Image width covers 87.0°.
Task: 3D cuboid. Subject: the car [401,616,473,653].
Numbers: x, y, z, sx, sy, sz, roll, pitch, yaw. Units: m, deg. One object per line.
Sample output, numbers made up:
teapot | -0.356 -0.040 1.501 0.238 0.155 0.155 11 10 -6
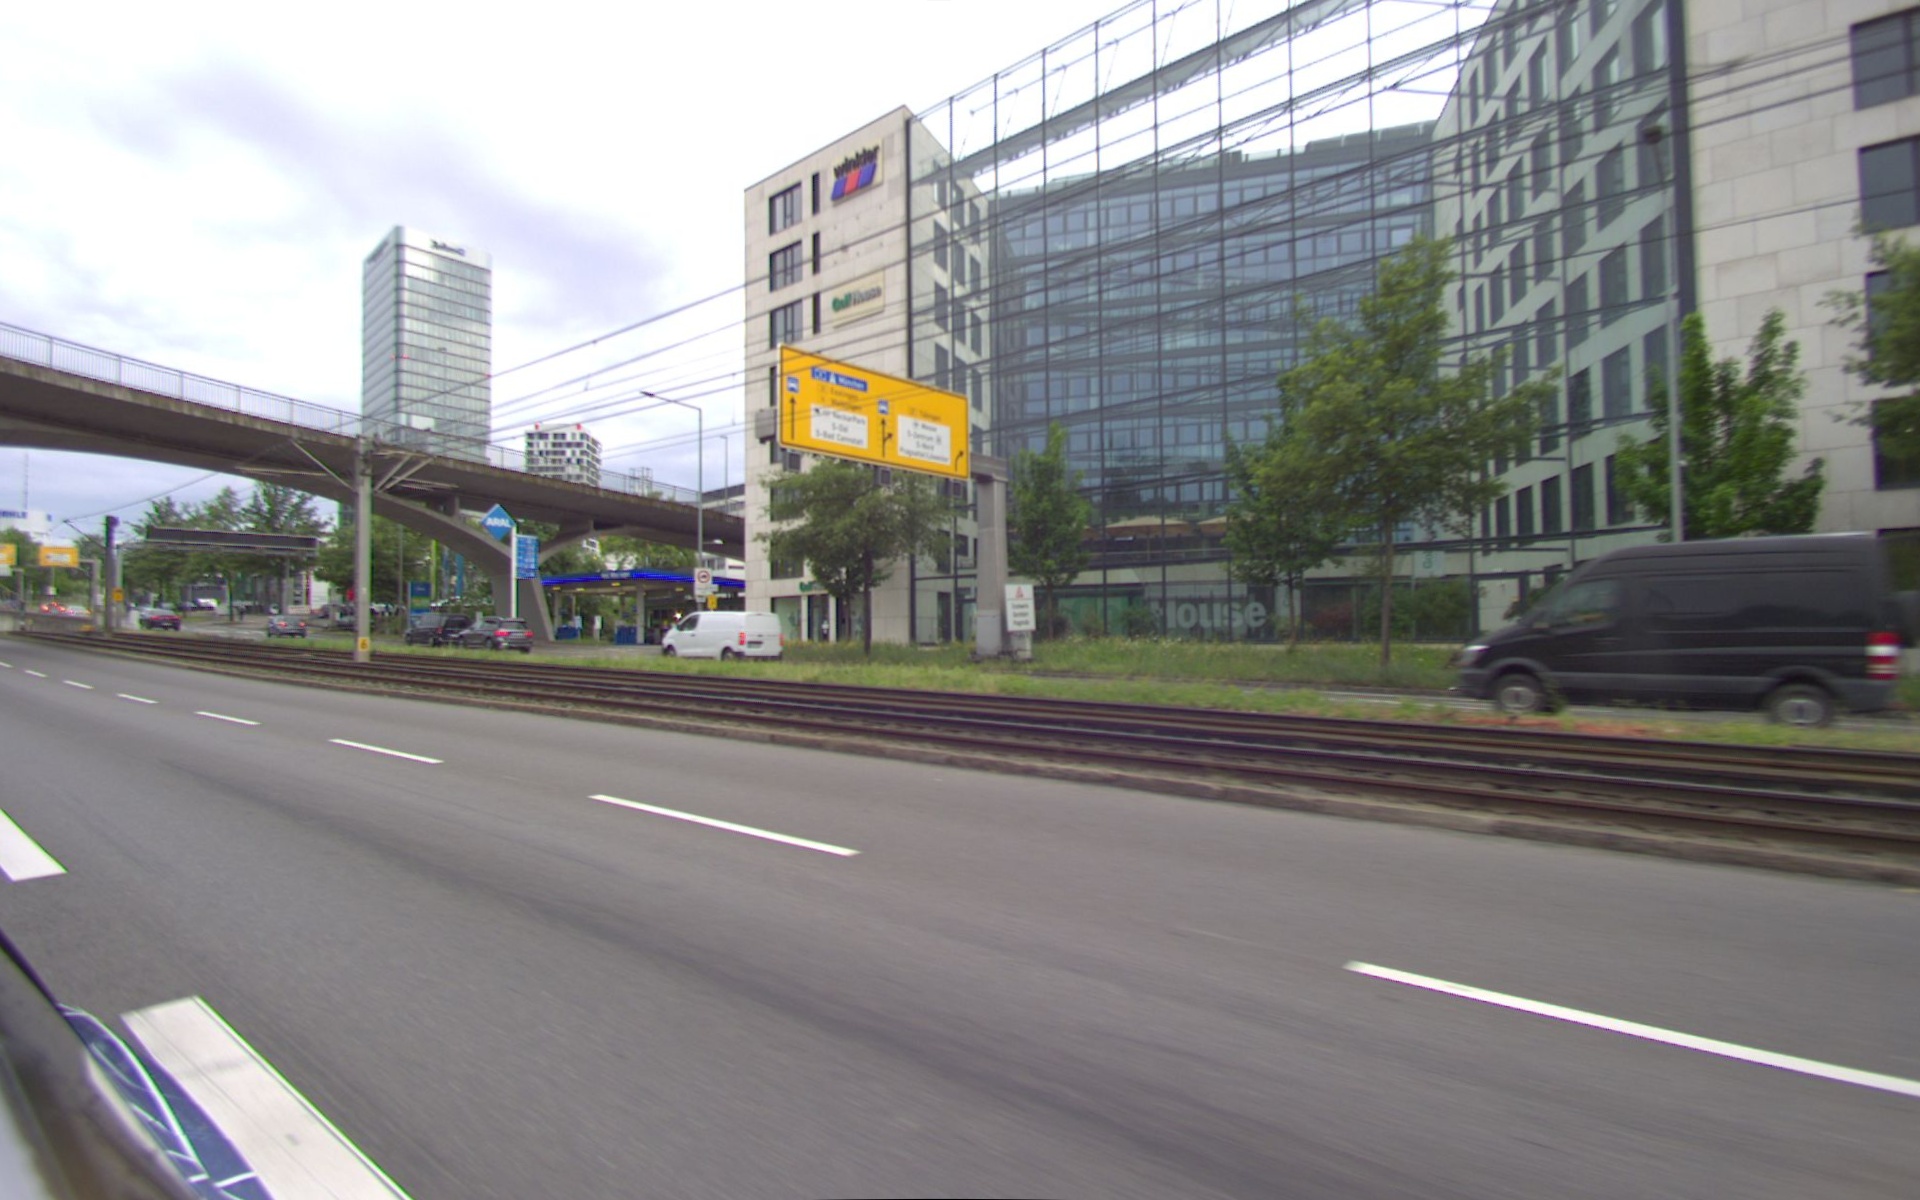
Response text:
car | -29.387 1.901 56.812 5.134 1.967 2.036 -1 0 44

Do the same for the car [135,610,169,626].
car | -81.495 1.785 102.034 4.655 1.509 1.900 -1 -4 42

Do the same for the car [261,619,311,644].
car | -45.127 2.077 67.716 4.274 1.545 1.790 -1 0 43

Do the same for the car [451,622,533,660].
car | -21.461 1.840 46.340 4.489 1.618 1.790 -1 0 42

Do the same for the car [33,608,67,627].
car | -93.935 1.814 104.448 4.217 1.790 1.903 -1 0 37

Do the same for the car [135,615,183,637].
car | -58.803 1.913 74.276 4.864 1.545 1.792 -1 0 39

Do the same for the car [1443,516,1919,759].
car | 10.235 0.456 14.416 5.611 2.839 2.358 -1 0 43

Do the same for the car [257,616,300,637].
car | -53.343 2.066 79.179 4.489 1.610 1.745 -1 0 42

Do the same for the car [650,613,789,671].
car | -8.222 1.377 34.339 5.057 1.775 1.919 -1 0 39

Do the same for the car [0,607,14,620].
car | -123.361 1.732 130.059 4.754 1.550 2.027 -1 0 39

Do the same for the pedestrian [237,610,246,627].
pedestrian | -78.363 1.996 110.422 0.636 1.809 0.679 1 1 41

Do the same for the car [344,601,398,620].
car | -57.319 1.028 98.507 1.886 1.785 4.140 1 1 44

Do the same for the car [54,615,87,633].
car | -83.442 2.255 94.922 4.790 1.610 1.745 -1 0 42

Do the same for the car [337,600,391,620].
car | -59.249 0.964 100.608 1.886 1.962 4.305 1 1 44

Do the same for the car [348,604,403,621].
car | -56.024 1.195 97.036 1.886 1.515 4.305 1 1 44
